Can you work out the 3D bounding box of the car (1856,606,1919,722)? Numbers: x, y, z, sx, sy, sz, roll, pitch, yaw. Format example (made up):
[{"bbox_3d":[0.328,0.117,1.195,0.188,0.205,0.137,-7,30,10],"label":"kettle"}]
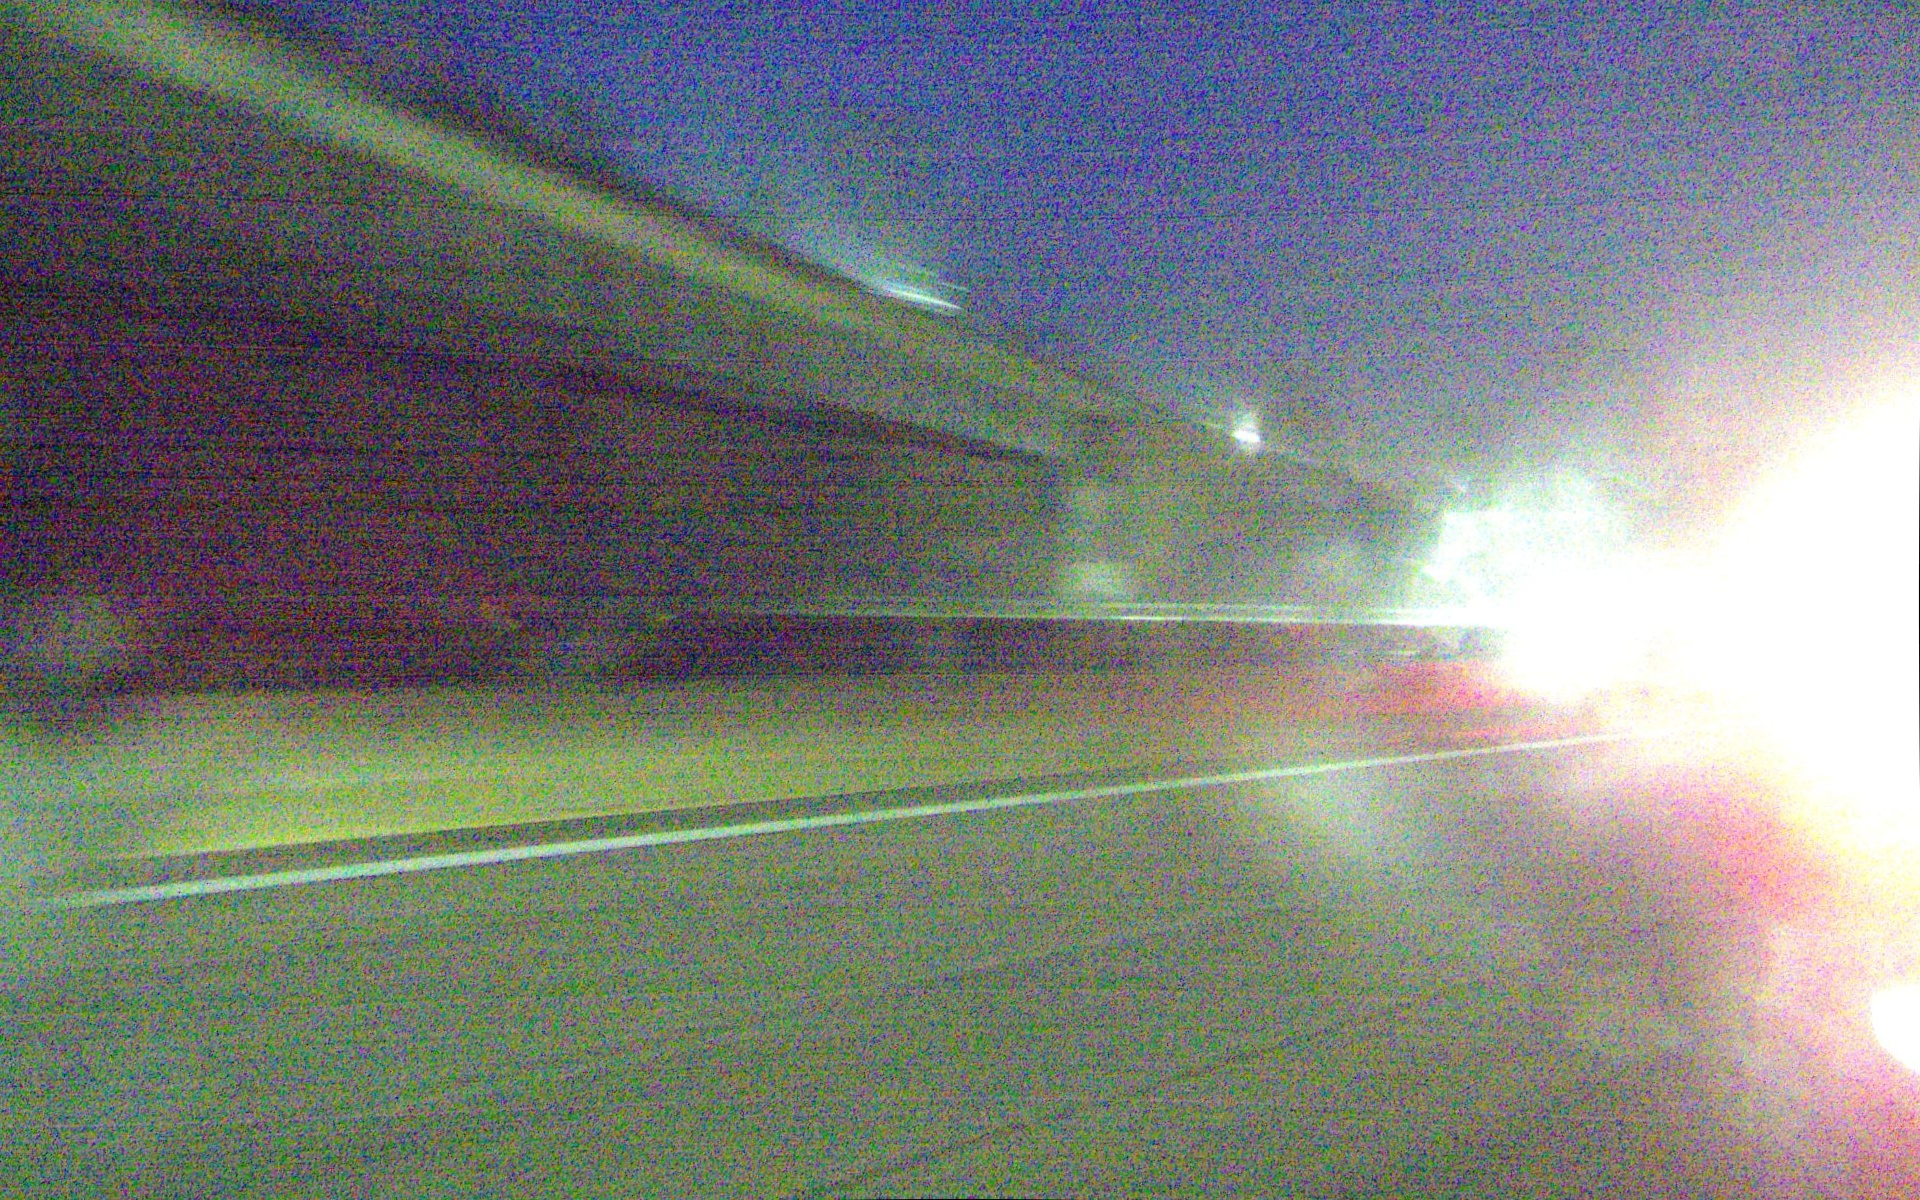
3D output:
[{"bbox_3d":[15.510,0.993,14.905,4.695,1.561,1.849,2,3,-30],"label":"car"}]

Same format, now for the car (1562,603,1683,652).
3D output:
[{"bbox_3d":[22.575,0.925,34.197,3.956,1.512,1.982,1,0,-32],"label":"car"}]

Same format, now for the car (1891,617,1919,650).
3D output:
[{"bbox_3d":[46.020,1.609,48.163,3.968,1.512,1.560,1,0,-40],"label":"car"}]

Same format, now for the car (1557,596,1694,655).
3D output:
[{"bbox_3d":[18.704,0.707,28.186,3.956,1.512,1.732,1,0,-33],"label":"car"}]
